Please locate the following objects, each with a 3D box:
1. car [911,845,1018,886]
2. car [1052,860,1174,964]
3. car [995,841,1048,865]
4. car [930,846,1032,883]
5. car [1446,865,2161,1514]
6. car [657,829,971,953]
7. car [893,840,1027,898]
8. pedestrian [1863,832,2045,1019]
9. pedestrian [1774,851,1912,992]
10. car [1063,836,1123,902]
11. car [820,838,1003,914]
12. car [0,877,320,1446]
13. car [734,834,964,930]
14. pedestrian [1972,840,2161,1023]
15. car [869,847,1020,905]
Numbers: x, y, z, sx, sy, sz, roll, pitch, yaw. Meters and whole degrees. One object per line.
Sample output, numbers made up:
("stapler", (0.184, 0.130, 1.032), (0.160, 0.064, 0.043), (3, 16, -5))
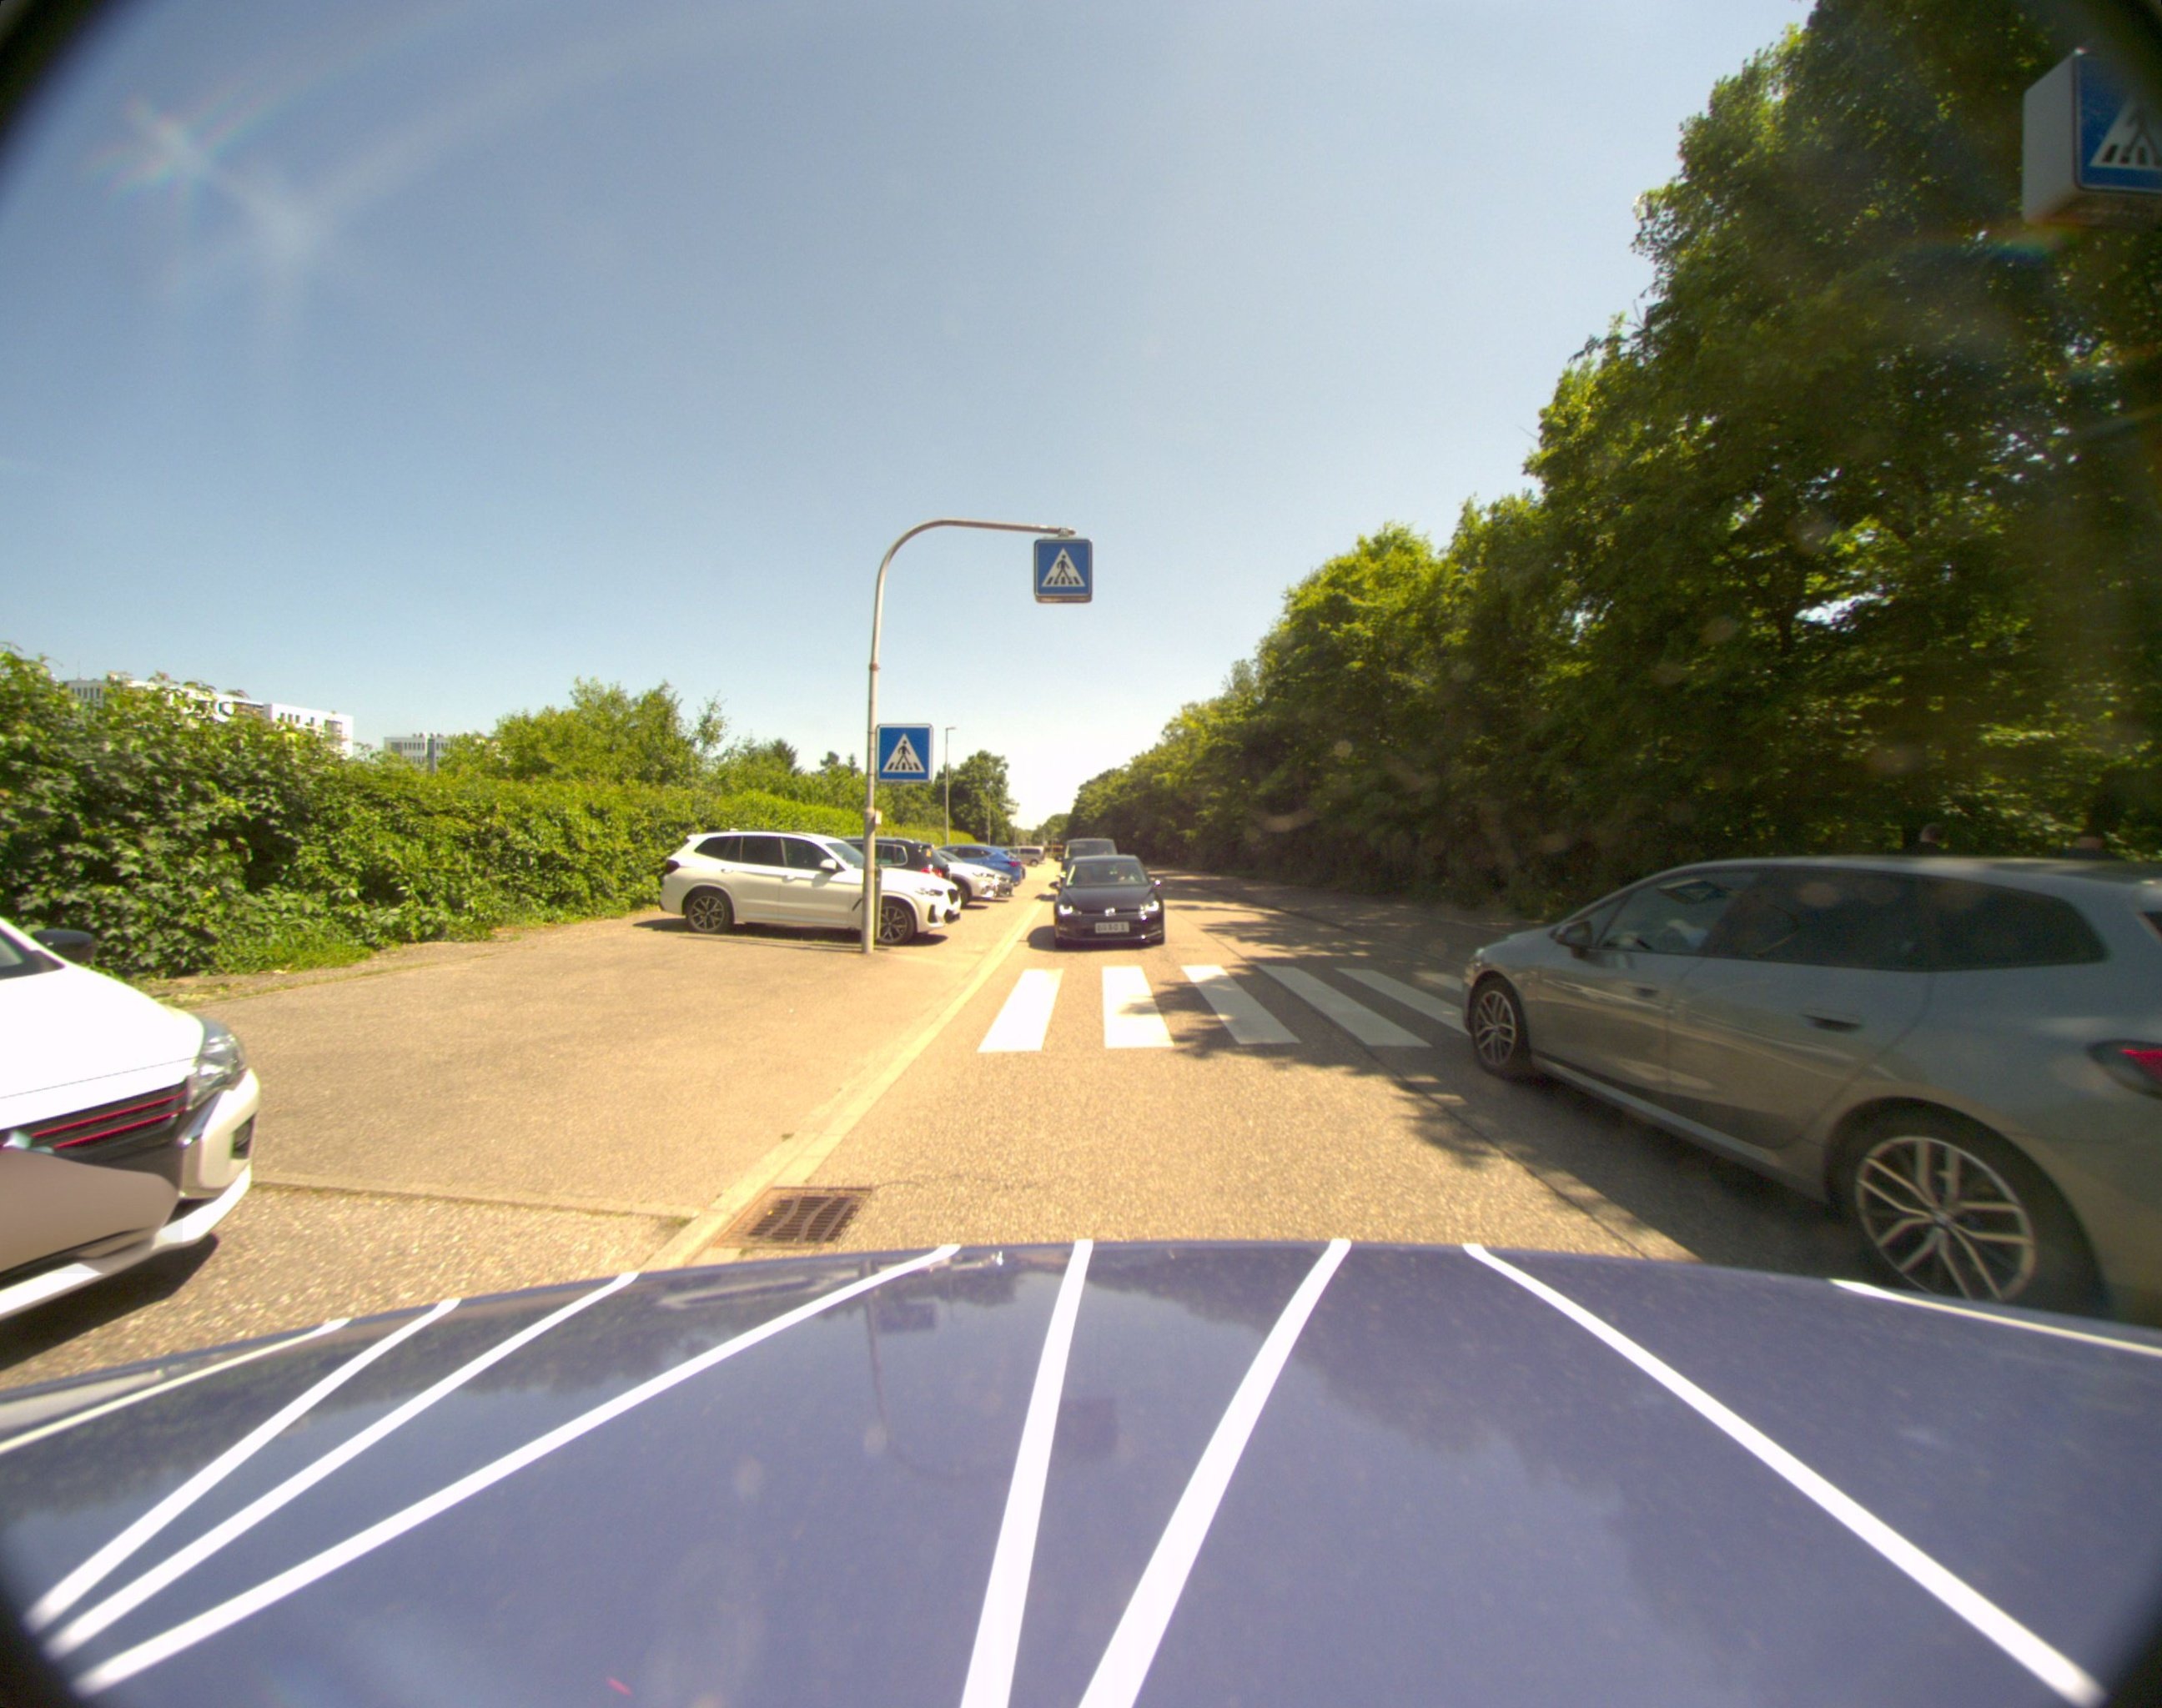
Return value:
("car", (-4.712, 0.441, 31.123), (4.036, 1.438, 1.649), (3, 1, 1))
("car", (0.454, 0.862, 13.189), (1.743, 1.396, 4.387), (-1, 1, 0))
("car", (-5.275, -0.081, 67.550), (4.493, 1.840, 1.695), (3, 1, -4))
("car", (-4.418, 0.461, 34.032), (4.251, 1.410, 1.649), (3, 1, 1))
("car", (3.683, 0.923, 3.505), (1.895, 1.523, 4.196), (4, 1, 0))
("car", (-4.223, 0.542, 12.498), (4.464, 1.720, 1.851), (2, 2, 2))
("car", (-3.904, 0.476, 24.974), (4.036, 1.632, 1.673), (3, 1, 1))
("pedestrian", (9.175, 0.709, 8.021), (1.086, 1.854, 0.783), (-1, 1, -6))
("pedestrian", (9.133, 0.770, 9.134), (0.896, 1.602, 0.780), (-1, 1, -6))
("car", (0.355, 0.426, 24.518), (1.743, 1.905, 4.387), (-1, 1, 0))
("car", (-4.159, 0.522, 19.162), (4.170, 1.632, 1.775), (3, 1, -2))
("car", (-4.741, 0.771, 2.151), (3.697, 1.442, 1.610), (4, 0, 5))
("car", (-4.514, 0.526, 15.200), (3.982, 1.676, 1.766), (2, 1, 1))
("pedestrian", (10.286, 0.743, 7.764), (1.158, 1.741, 1.023), (-1, -1, -2))
("car", (-3.881, 0.617, 22.065), (4.036, 1.401, 1.679), (3, 1, 0))
